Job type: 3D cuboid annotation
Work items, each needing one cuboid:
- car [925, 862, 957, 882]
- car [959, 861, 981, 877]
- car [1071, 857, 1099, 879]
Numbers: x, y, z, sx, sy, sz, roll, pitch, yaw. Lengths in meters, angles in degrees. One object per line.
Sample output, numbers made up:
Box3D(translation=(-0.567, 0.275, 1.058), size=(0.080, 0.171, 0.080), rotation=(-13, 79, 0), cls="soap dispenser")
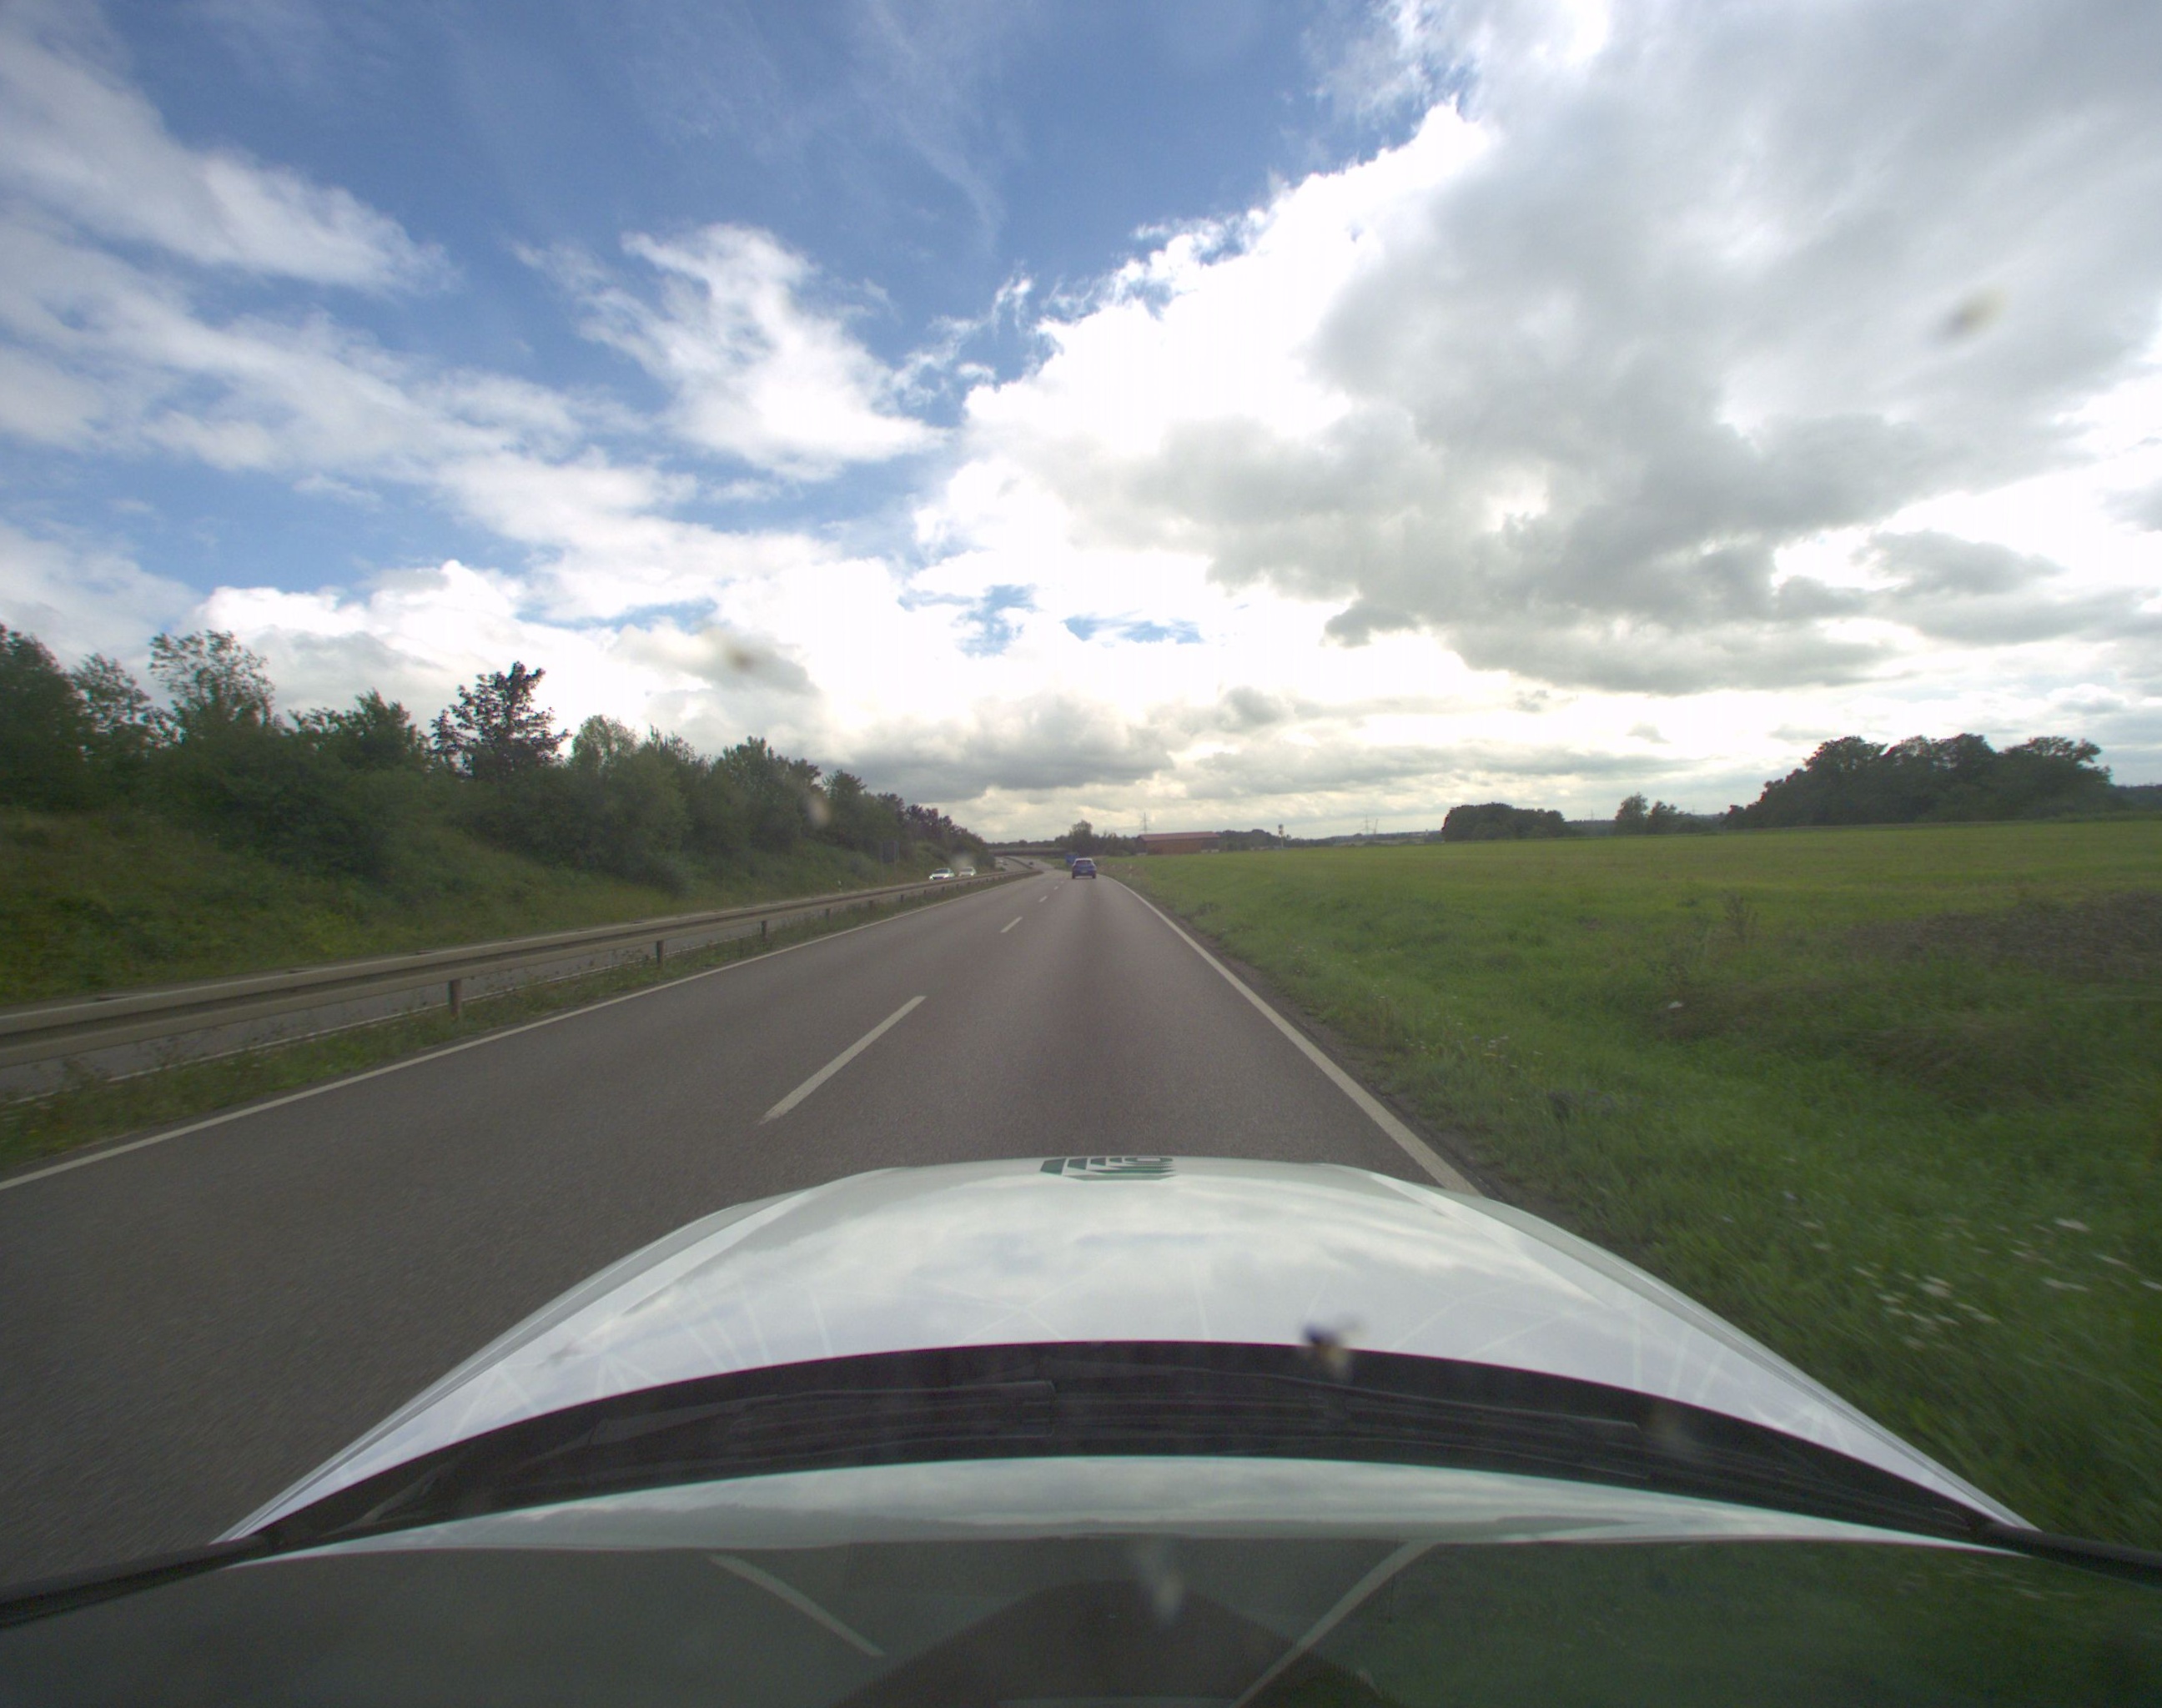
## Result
Box3D(translation=(-12.738, 1.649, 74.603), size=(1.987, 1.517, 4.988), rotation=(-3, 1, 0), cls="car")
Box3D(translation=(-12.895, 1.729, 94.718), size=(1.915, 1.517, 4.462), rotation=(-3, 1, -1), cls="car")
Box3D(translation=(0.263, 1.094, 65.843), size=(2.028, 1.660, 4.540), rotation=(-1, 0, -2), cls="car")
